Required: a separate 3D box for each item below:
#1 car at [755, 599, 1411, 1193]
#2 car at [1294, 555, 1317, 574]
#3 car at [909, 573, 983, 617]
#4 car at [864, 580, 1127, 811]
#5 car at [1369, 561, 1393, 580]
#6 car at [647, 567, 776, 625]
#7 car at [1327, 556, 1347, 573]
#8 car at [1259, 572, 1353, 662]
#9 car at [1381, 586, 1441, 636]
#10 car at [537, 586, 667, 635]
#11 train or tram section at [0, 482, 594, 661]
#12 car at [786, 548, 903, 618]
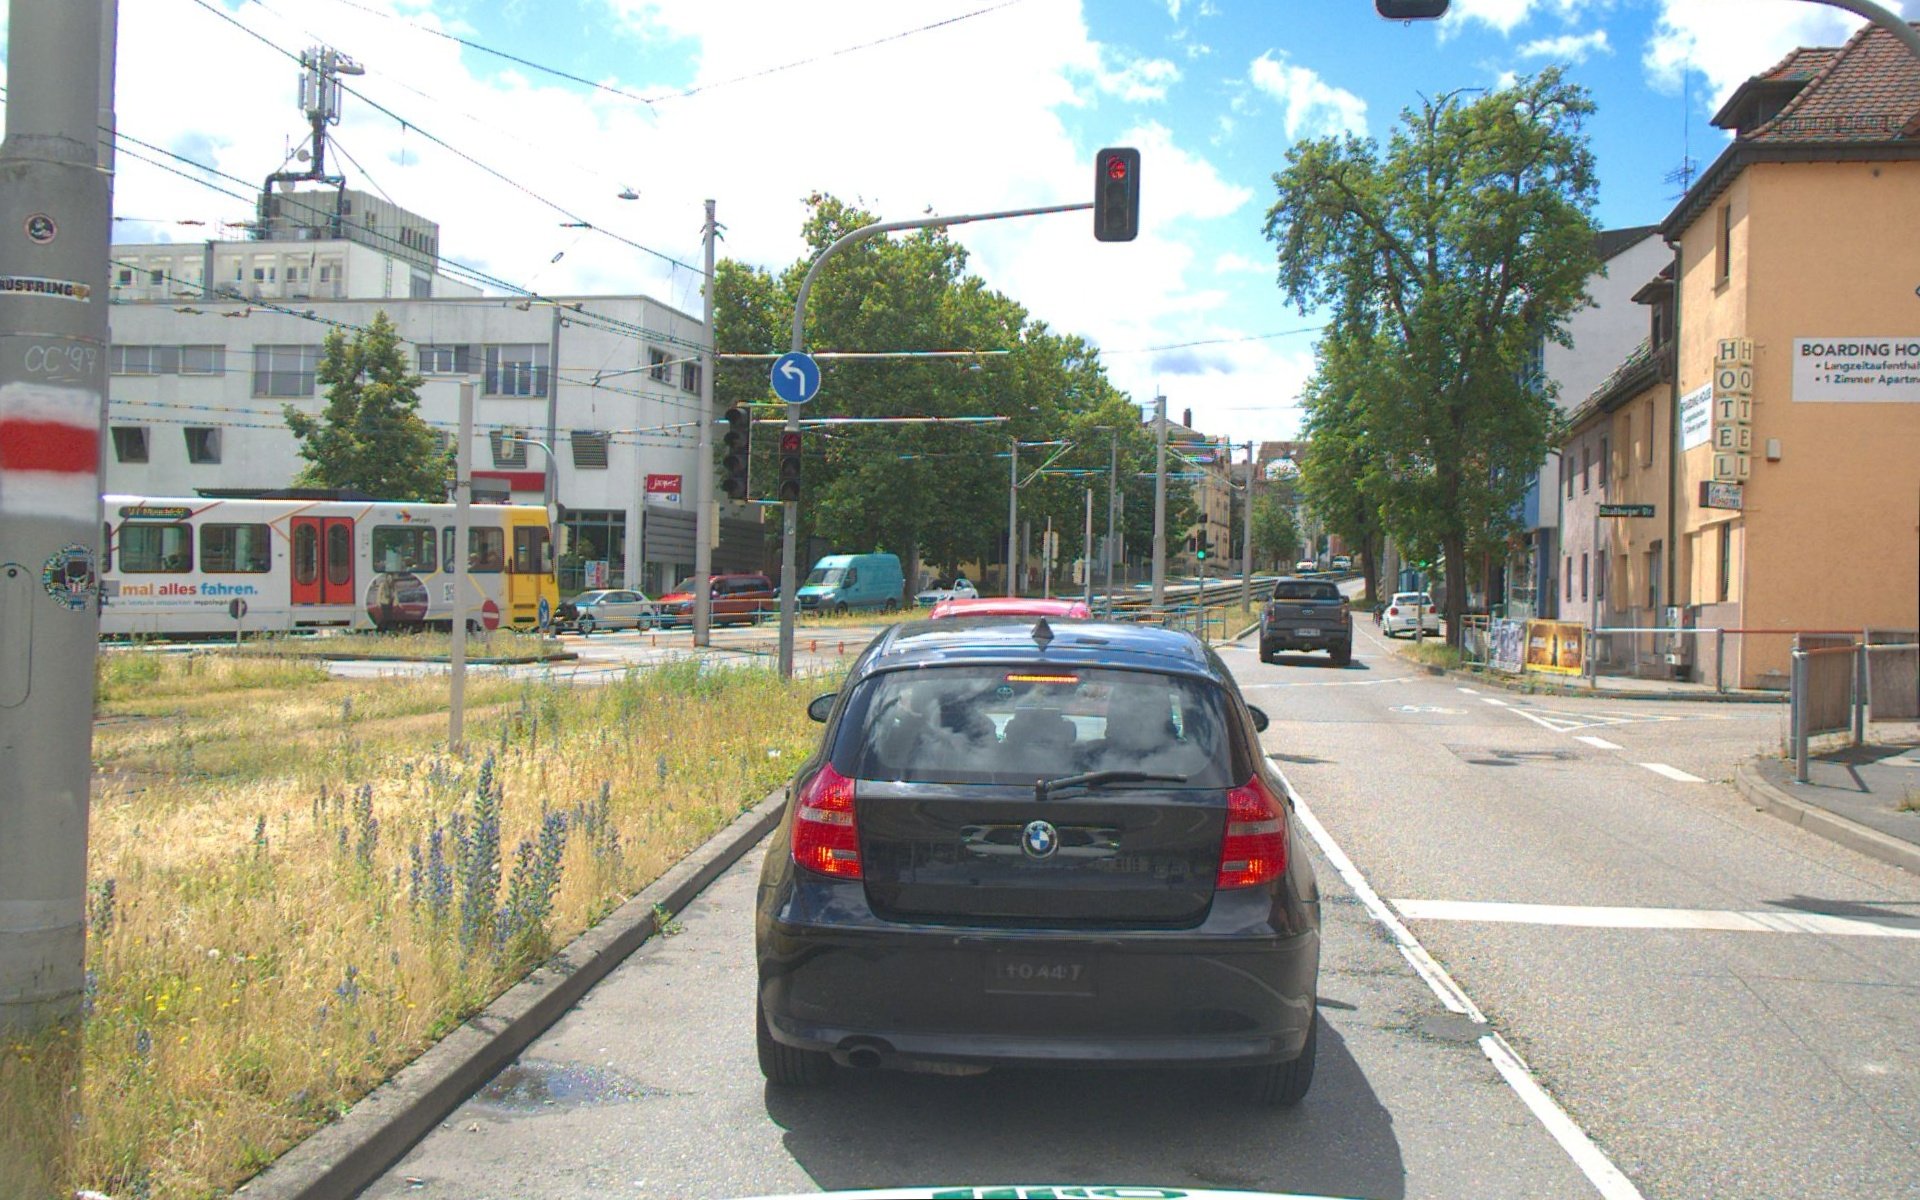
[{"bbox_3d":[0.218,0.762,6.194,1.667,1.477,3.997,0,-1,-3],"label":"car"},{"bbox_3d":[39.412,-4.026,188.395,1.952,2.049,4.000,-1,-1,21],"label":"car"},{"bbox_3d":[-0.595,-0.208,75.990,1.814,1.962,4.798,-1,-1,21],"label":"car"},{"bbox_3d":[0.422,0.644,12.794,1.590,1.499,4.003,0,-1,8],"label":"car"},{"bbox_3d":[39.886,-2.747,156.703,1.951,1.691,4.002,-1,-1,17],"label":"car"},{"bbox_3d":[-9.071,-0.109,60.616,1.822,2.044,4.777,-1,-1,37],"label":"car"},{"bbox_3d":[47.414,-4.442,207.822,1.952,2.049,4.000,-1,-1,21],"label":"car"},{"bbox_3d":[7.897,0.392,37.822,1.956,1.920,5.154,0,-1,12],"label":"car"},{"bbox_3d":[15.281,0.380,56.153,1.749,1.624,4.003,0,-1,12],"label":"car"},{"bbox_3d":[-12.146,0.375,56.265,1.823,1.613,4.150,-1,-1,38],"label":"car"},{"bbox_3d":[-18.827,-0.598,39.174,19.780,3.881,3.722,0,-1,-31],"label":"train or tram section"},{"bbox_3d":[-4.672,-0.634,67.656,2.090,2.701,5.682,-1,-1,28],"label":"car"}]
